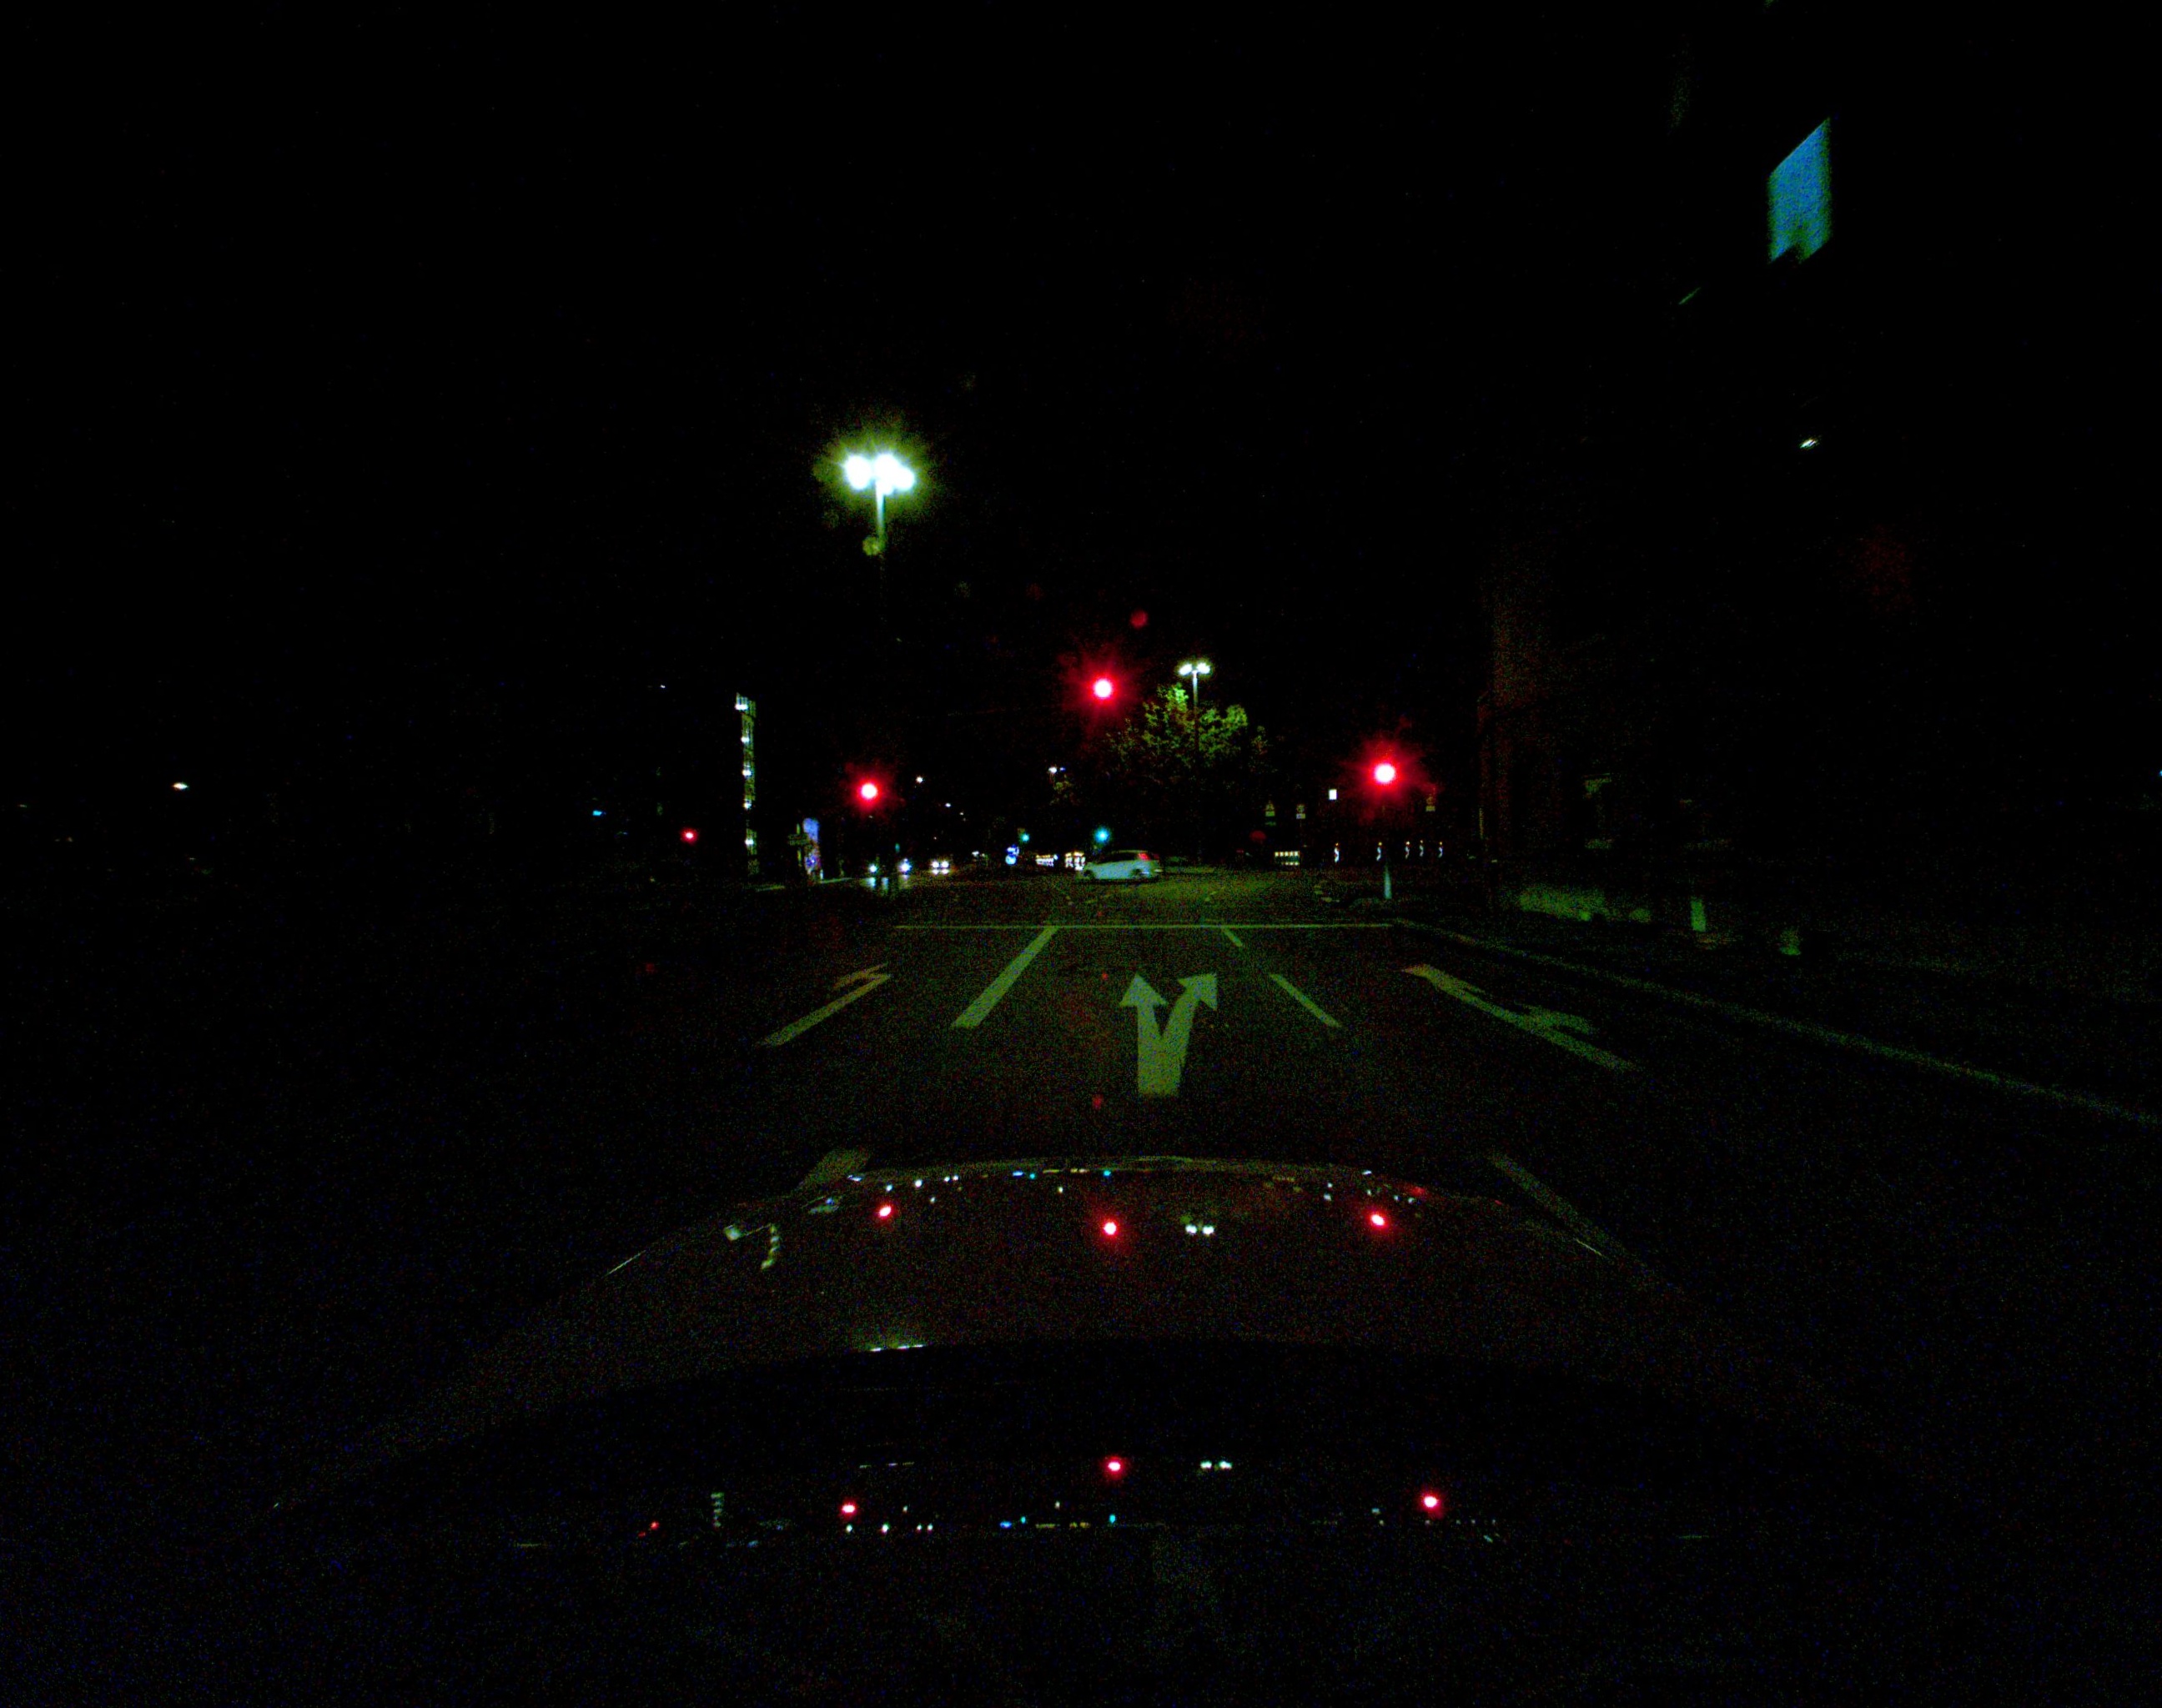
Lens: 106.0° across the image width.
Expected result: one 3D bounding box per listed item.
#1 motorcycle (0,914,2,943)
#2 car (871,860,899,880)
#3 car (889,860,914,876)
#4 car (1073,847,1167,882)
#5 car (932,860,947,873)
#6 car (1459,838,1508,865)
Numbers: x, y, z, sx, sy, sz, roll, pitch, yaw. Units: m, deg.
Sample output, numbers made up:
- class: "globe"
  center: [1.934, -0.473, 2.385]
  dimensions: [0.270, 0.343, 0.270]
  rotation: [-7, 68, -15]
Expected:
- class: "motorcycle"
  center: [-28.942, 1.949, 21.317]
  dimensions: [2.128, 0.896, 0.583]
  rotation: [-3, 1, 43]
- class: "car"
  center: [-16.252, 1.303, 67.739]
  dimensions: [1.612, 1.515, 3.994]
  rotation: [-2, -1, -4]
- class: "car"
  center: [-16.591, 1.293, 75.292]
  dimensions: [1.755, 1.322, 3.542]
  rotation: [-2, -1, -4]
- class: "car"
  center: [1.777, 0.504, 37.511]
  dimensions: [3.949, 1.491, 1.719]
  rotation: [-2, -1, 30]
- class: "car"
  center: [-20.390, 1.789, 117.728]
  dimensions: [1.755, 1.728, 3.542]
  rotation: [-2, -1, -4]
- class: "car"
  center: [25.474, -0.144, 51.523]
  dimensions: [1.711, 1.611, 3.645]
  rotation: [-2, -1, 44]
